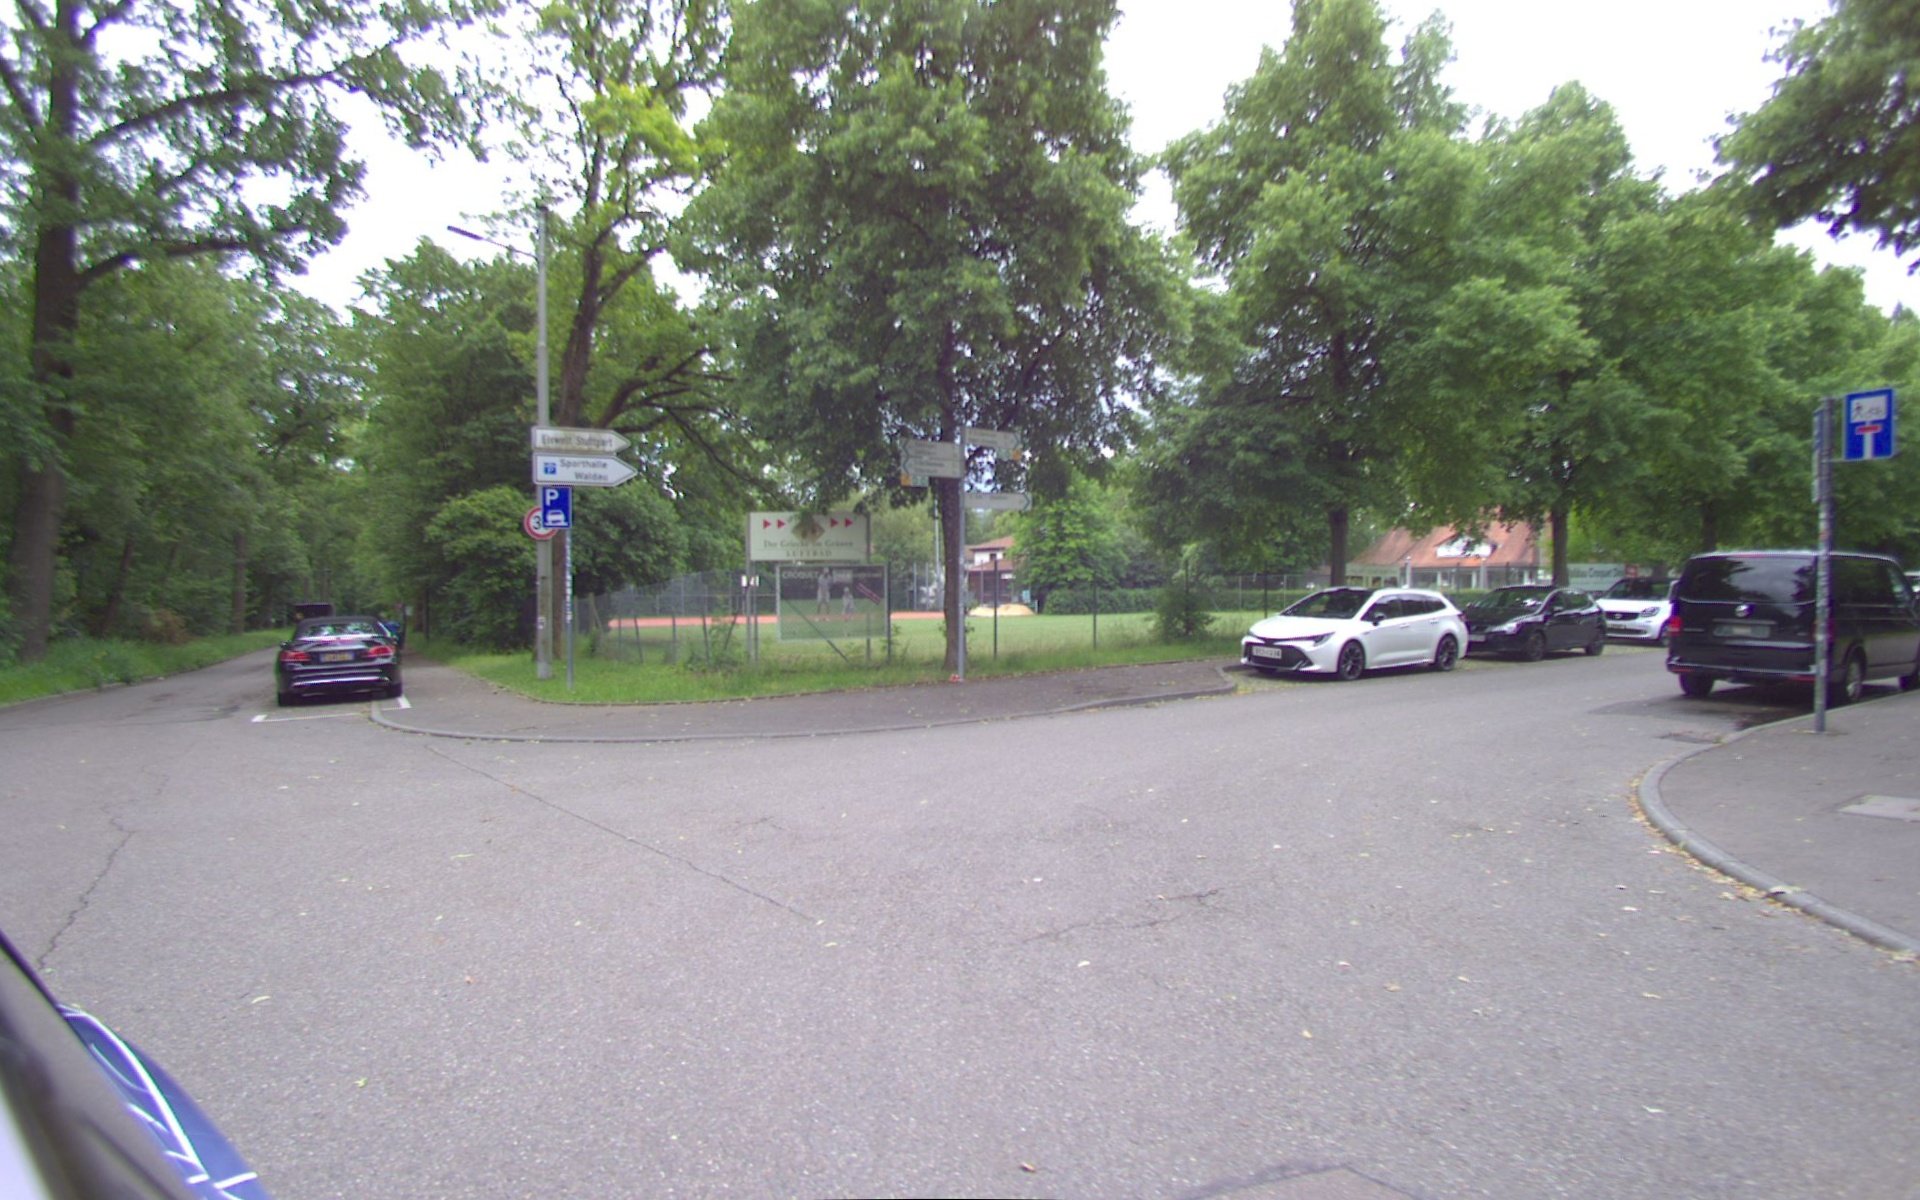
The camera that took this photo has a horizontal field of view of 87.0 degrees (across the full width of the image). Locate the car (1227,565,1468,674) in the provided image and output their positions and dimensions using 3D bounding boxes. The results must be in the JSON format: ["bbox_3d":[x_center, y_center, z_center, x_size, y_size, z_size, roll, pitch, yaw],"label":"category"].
[{"bbox_3d":[6.497,0.247,16.818,4.147,1.608,1.775,-1,1,-36],"label":"car"}]

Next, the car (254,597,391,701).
[{"bbox_3d":[-10.928,0.818,17.483,1.742,1.506,4.339,-2,-1,-31],"label":"car"}]

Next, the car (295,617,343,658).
[{"bbox_3d":[-27.391,1.559,43.202,1.594,1.604,3.528,-2,0,-34],"label":"car"}]

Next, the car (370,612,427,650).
[{"bbox_3d":[-25.368,1.344,45.655,1.926,1.631,3.649,1,-1,-34],"label":"car"}]

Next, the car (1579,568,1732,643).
[{"bbox_3d":[16.462,0.078,23.903,3.933,1.608,1.701,-1,2,-36],"label":"car"}]

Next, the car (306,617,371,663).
[{"bbox_3d":[-20.747,1.343,33.743,1.663,1.369,3.640,-2,-1,-34],"label":"car"}]

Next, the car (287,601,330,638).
[{"bbox_3d":[-47.697,1.398,74.113,2.538,2.553,4.949,-2,0,-33],"label":"car"}]

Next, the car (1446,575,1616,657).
[{"bbox_3d":[11.324,0.254,20.001,3.605,1.465,1.554,-1,2,-36],"label":"car"}]

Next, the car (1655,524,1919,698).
[{"bbox_3d":[11.512,0.113,13.710,4.038,2.029,2.000,-1,0,-32],"label":"car"}]

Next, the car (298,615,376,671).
[{"bbox_3d":[-17.504,1.206,28.361,1.663,1.369,3.878,-2,-1,-34],"label":"car"}]

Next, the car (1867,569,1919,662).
[{"bbox_3d":[16.949,0.225,17.042,3.461,1.492,1.607,-1,0,-32],"label":"car"}]

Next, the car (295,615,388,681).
[{"bbox_3d":[-14.803,1.130,24.106,1.663,1.369,4.231,-2,-1,-34],"label":"car"}]

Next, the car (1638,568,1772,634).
[{"bbox_3d":[19.817,-0.018,26.885,3.933,1.608,1.701,-1,2,-36],"label":"car"}]
